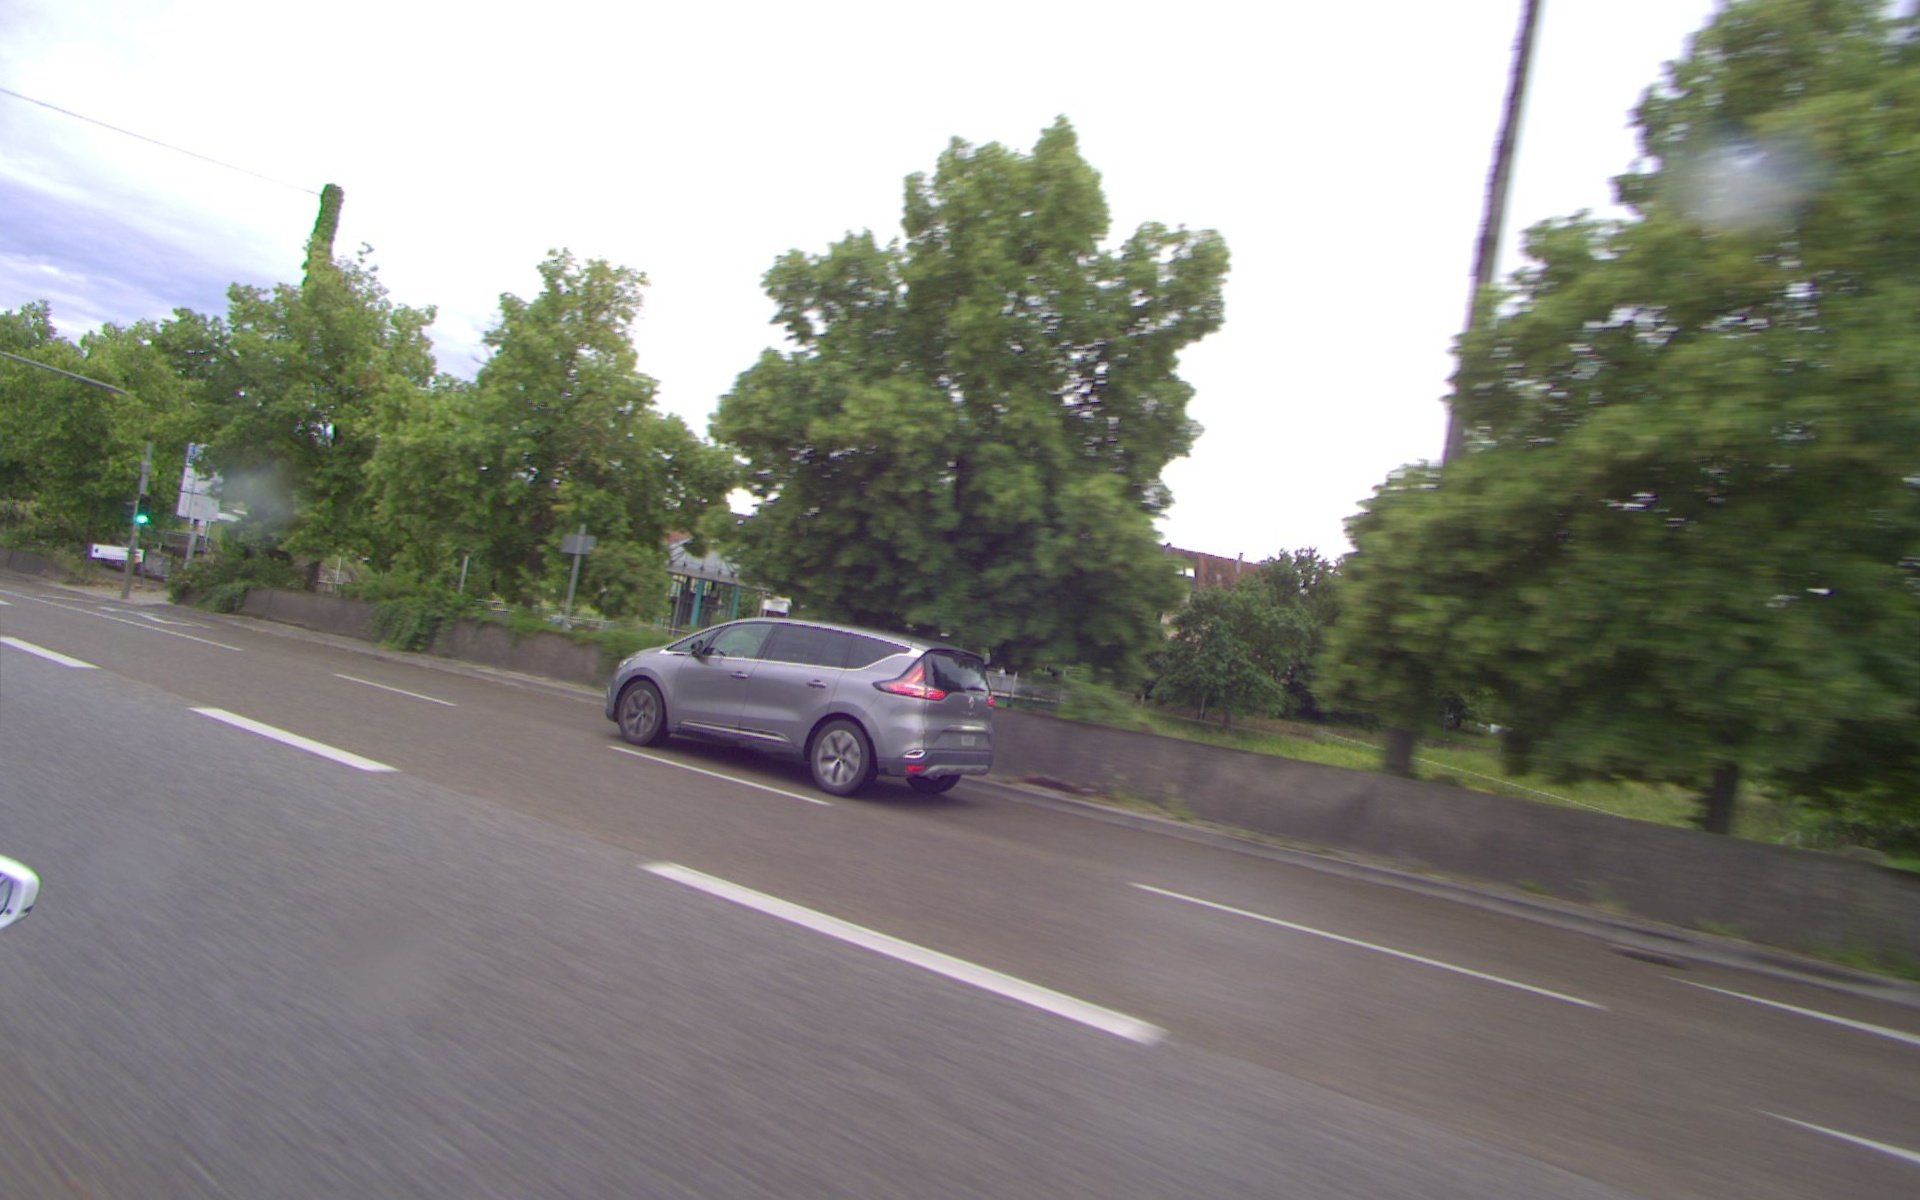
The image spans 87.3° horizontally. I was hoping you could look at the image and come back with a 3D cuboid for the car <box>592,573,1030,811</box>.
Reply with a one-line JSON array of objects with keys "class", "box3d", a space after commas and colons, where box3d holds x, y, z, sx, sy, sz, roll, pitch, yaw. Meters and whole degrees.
[{"class": "car", "box3d": [-1.741, 0.933, 11.096, 4.548, 1.666, 1.731, 9, -3, 32]}]
